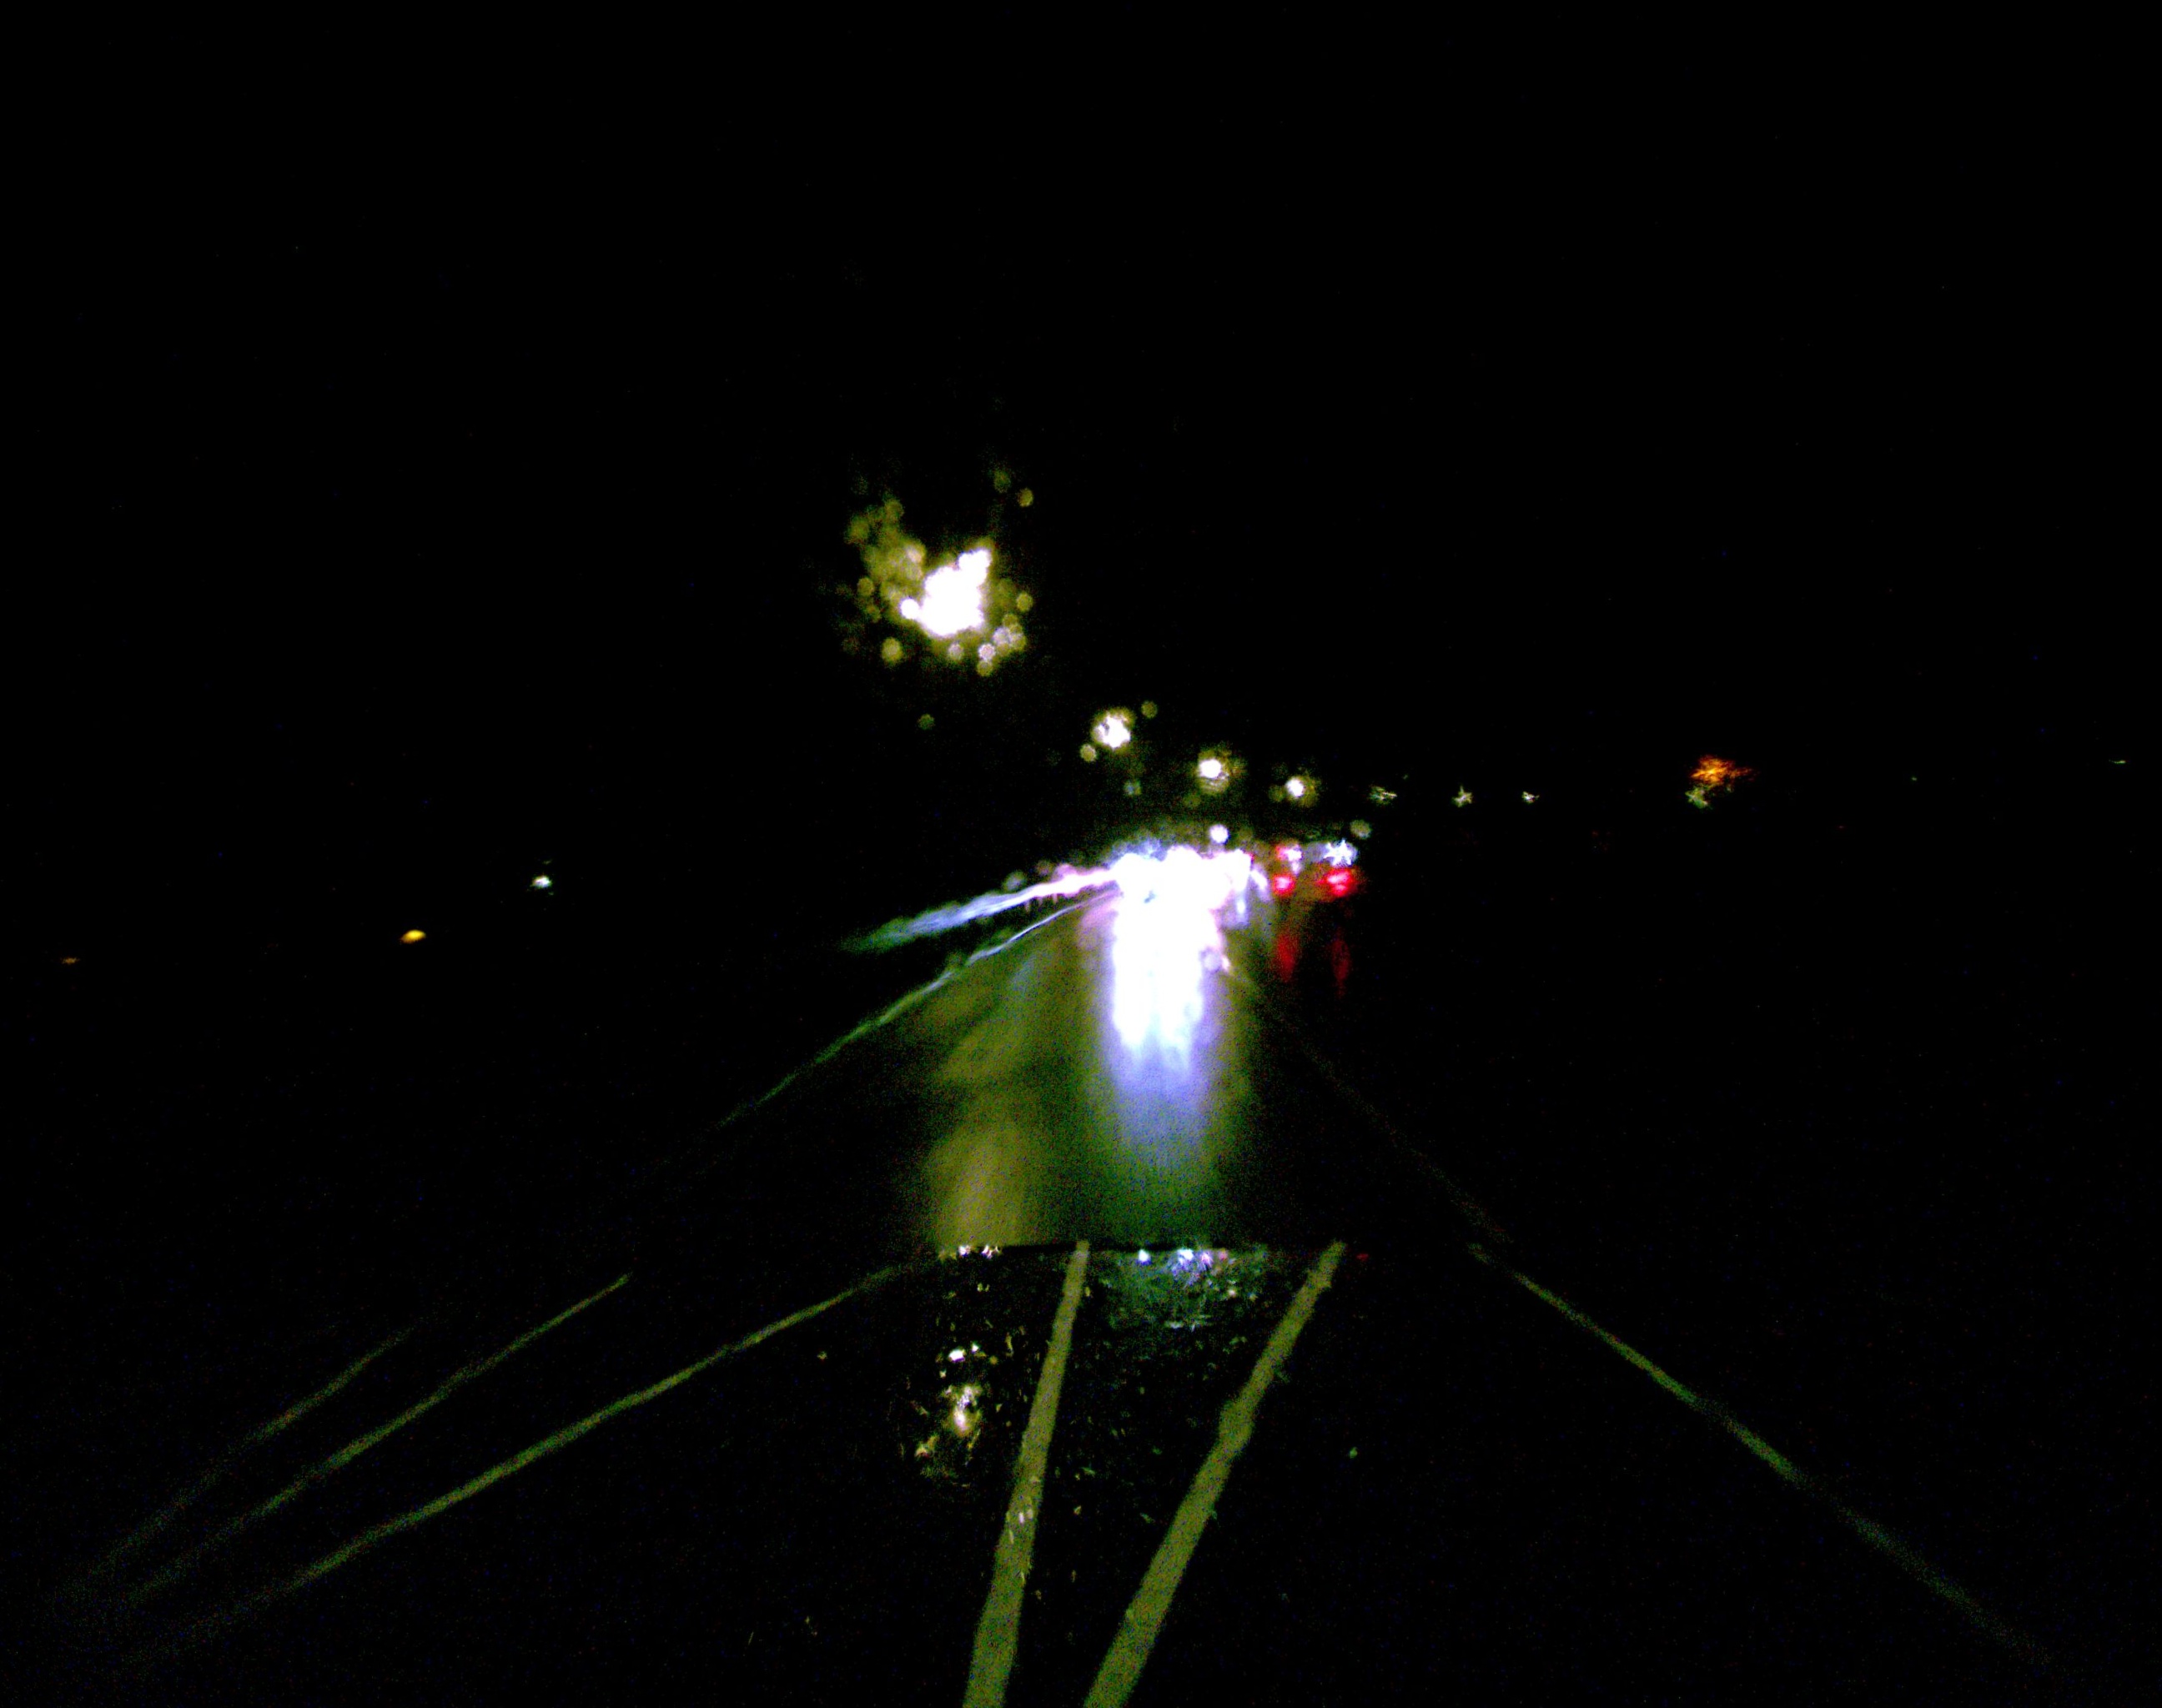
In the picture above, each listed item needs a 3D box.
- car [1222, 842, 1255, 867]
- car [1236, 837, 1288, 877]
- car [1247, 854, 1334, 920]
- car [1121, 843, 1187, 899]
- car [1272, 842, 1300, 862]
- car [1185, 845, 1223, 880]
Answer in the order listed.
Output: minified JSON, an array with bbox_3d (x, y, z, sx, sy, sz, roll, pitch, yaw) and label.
[{"bbox_3d":[13.163,0.039,63.355,1.995,1.923,4.006,-2,0,22],"label":"car"},{"bbox_3d":[9.991,0.138,41.622,2.452,1.976,5.500,-2,0,16],"label":"car"},{"bbox_3d":[5.103,0.752,18.938,1.732,1.396,3.866,-2,0,11],"label":"car"},{"bbox_3d":[2.770,0.588,27.946,1.935,1.861,4.003,-2,0,12],"label":"car"},{"bbox_3d":[20.879,-0.203,77.240,1.995,1.923,4.007,-2,0,26],"label":"car"},{"bbox_3d":[7.365,0.485,45.372,1.997,1.923,4.003,-2,0,12],"label":"car"}]
